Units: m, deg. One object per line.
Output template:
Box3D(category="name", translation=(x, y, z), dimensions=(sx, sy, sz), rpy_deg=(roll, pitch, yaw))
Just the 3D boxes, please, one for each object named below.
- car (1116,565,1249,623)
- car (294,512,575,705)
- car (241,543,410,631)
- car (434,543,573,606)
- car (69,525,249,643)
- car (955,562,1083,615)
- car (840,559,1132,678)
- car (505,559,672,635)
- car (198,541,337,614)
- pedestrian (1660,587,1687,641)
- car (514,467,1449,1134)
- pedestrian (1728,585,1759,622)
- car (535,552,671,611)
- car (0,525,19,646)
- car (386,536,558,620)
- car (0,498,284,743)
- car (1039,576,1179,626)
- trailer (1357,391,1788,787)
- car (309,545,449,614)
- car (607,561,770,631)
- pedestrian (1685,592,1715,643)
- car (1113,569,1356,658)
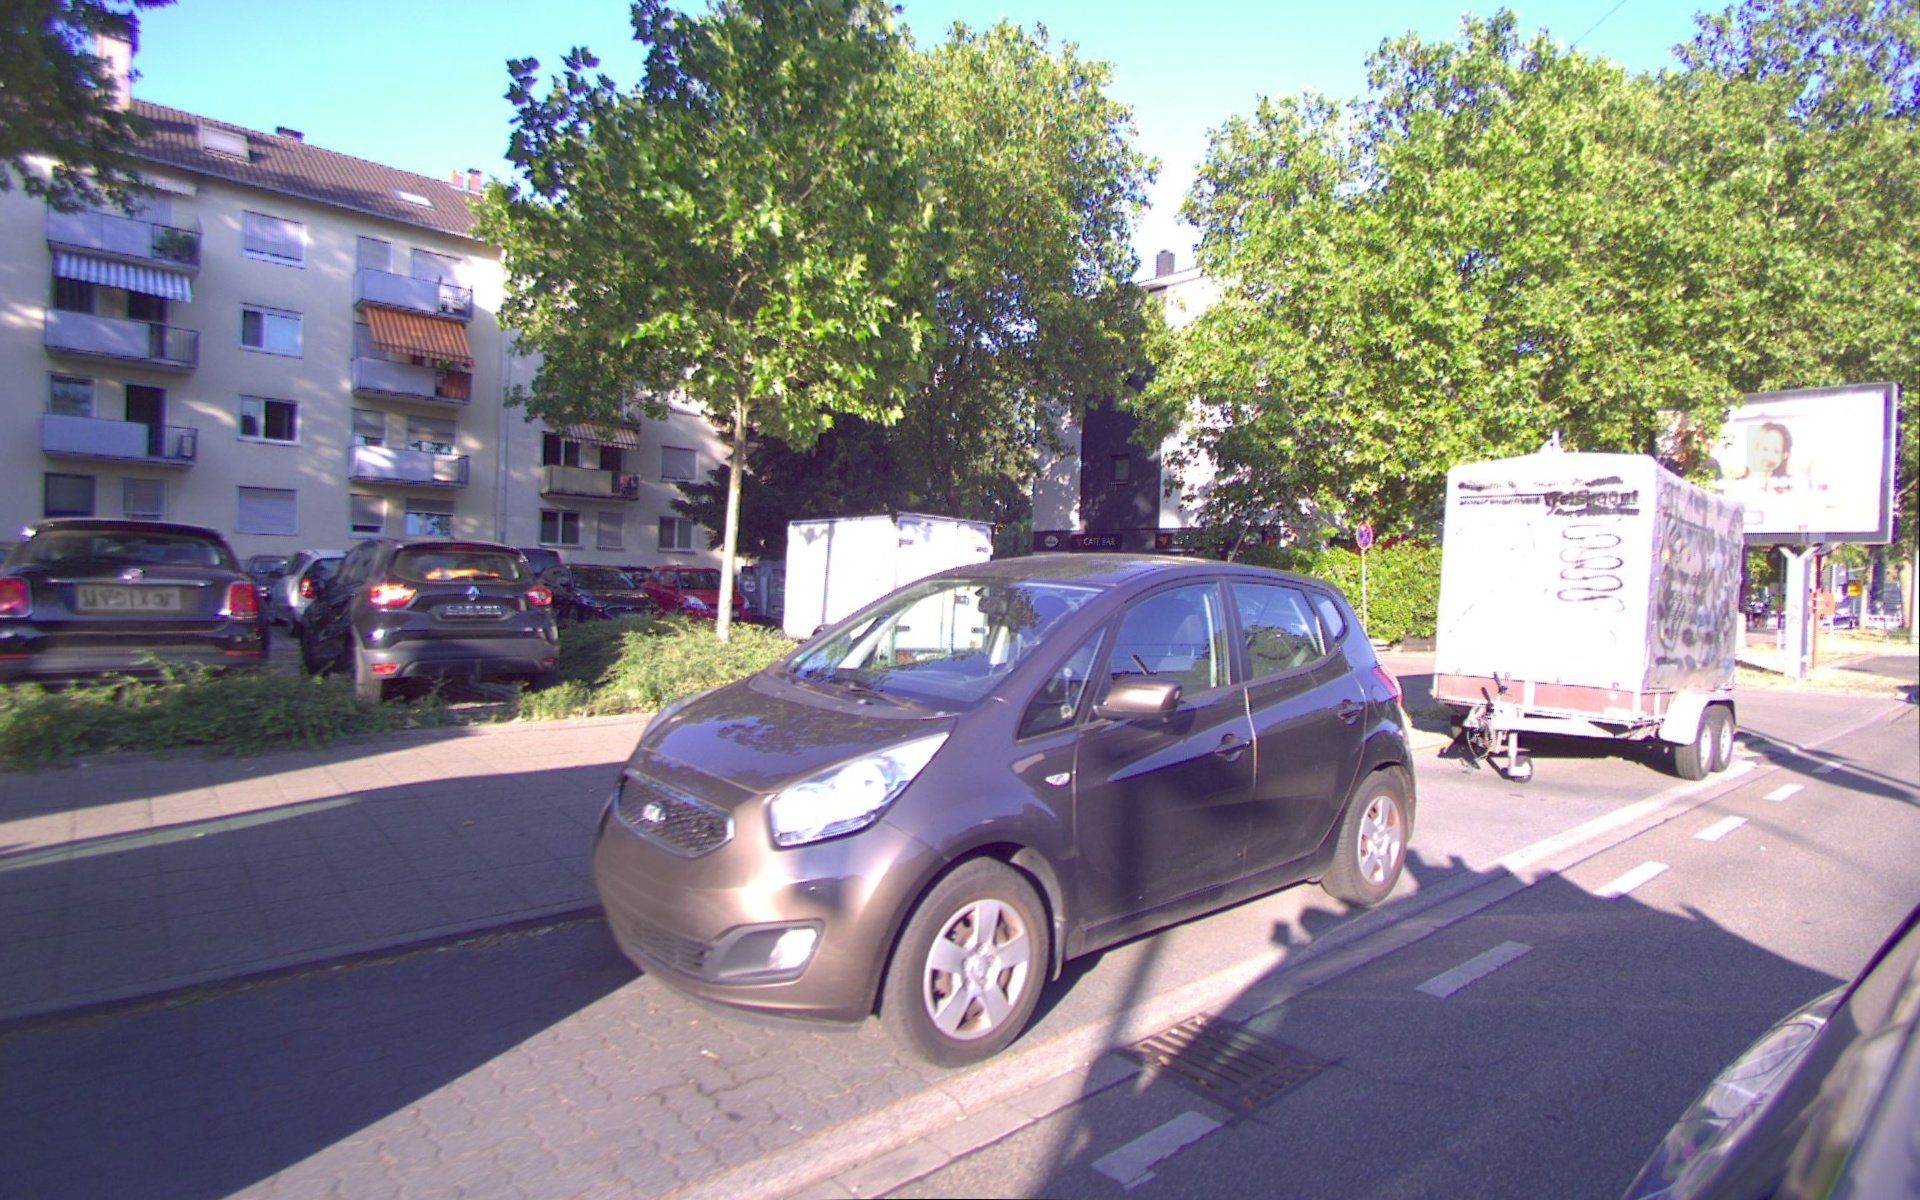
Box3D(category="car", translation=(6.911, -0.187, 31.258), dimensions=(4.223, 1.630, 1.819), rpy_deg=(0, 2, -41))
Box3D(category="car", translation=(-5.541, 0.083, 10.393), dimensions=(1.770, 1.570, 4.120), rpy_deg=(1, -1, -39))
Box3D(category="car", translation=(-12.455, -0.298, 19.756), dimensions=(1.967, 1.514, 4.285), rpy_deg=(0, 2, -44))
Box3D(category="car", translation=(-11.907, -0.675, 26.285), dimensions=(1.967, 1.514, 4.285), rpy_deg=(0, 2, -44))
Box3D(category="car", translation=(-13.571, -0.304, 17.041), dimensions=(1.967, 1.712, 4.447), rpy_deg=(0, 2, -44))
Box3D(category="car", translation=(2.105, -0.392, 35.944), dimensions=(4.116, 1.773, 2.002), rpy_deg=(1, 1, -30))
Box3D(category="car", translation=(0.273, 0.179, 15.379), dimensions=(1.967, 1.514, 4.285), rpy_deg=(0, 2, -44))
Box3D(category="car", translation=(-8.409, -0.119, 22.720), dimensions=(1.967, 1.514, 4.285), rpy_deg=(0, 2, -44))
Box3D(category="car", translation=(-15.888, -0.535, 23.137), dimensions=(1.949, 1.514, 4.285), rpy_deg=(0, 2, -44))
Box3D(category="pedestrian", translation=(22.720, 0.442, 32.235), dimensions=(0.683, 1.689, 0.554), rpy_deg=(1, 1, -45))
Box3D(category="car", translation=(0.369, 0.476, 4.477), dimensions=(3.930, 1.651, 1.799), rpy_deg=(0, 1, -41))
Box3D(category="pedestrian", translation=(41.315, 0.192, 53.355), dimensions=(0.935, 1.887, 1.062), rpy_deg=(1, 1, -40))
Box3D(category="car", translation=(-9.976, -0.549, 28.141), dimensions=(1.967, 1.514, 4.285), rpy_deg=(0, 2, -44))
Box3D(category="car", translation=(-15.635, -0.276, 15.314), dimensions=(1.967, 1.712, 4.285), rpy_deg=(0, 2, -44))
Box3D(category="car", translation=(-10.194, -0.472, 20.990), dimensions=(1.967, 1.554, 4.285), rpy_deg=(0, 2, -44))
Box3D(category="car", translation=(-7.114, 0.061, 8.712), dimensions=(1.770, 1.619, 4.122), rpy_deg=(1, 2, -39))
Box3D(category="car", translation=(4.819, 0.033, 32.725), dimensions=(4.116, 1.494, 2.002), rpy_deg=(1, 1, -30))
Box3D(category="trailer", translation=(5.564, -0.093, 8.921), dimensions=(4.569, 2.620, 1.889), rpy_deg=(0, 1, -41))
Box3D(category="car", translation=(-14.150, -0.523, 24.548), dimensions=(1.967, 1.514, 4.285), rpy_deg=(0, 2, -44))
Box3D(category="car", translation=(-6.633, -0.153, 24.446), dimensions=(1.967, 1.514, 4.285), rpy_deg=(0, 2, -44))
Box3D(category="pedestrian", translation=(23.142, 0.544, 31.654), dimensions=(0.753, 1.561, 0.625), rpy_deg=(1, 1, -45))
Box3D(category="car", translation=(5.425, 0.199, 20.216), dimensions=(4.271, 1.514, 1.974), rpy_deg=(2, 1, 37))
